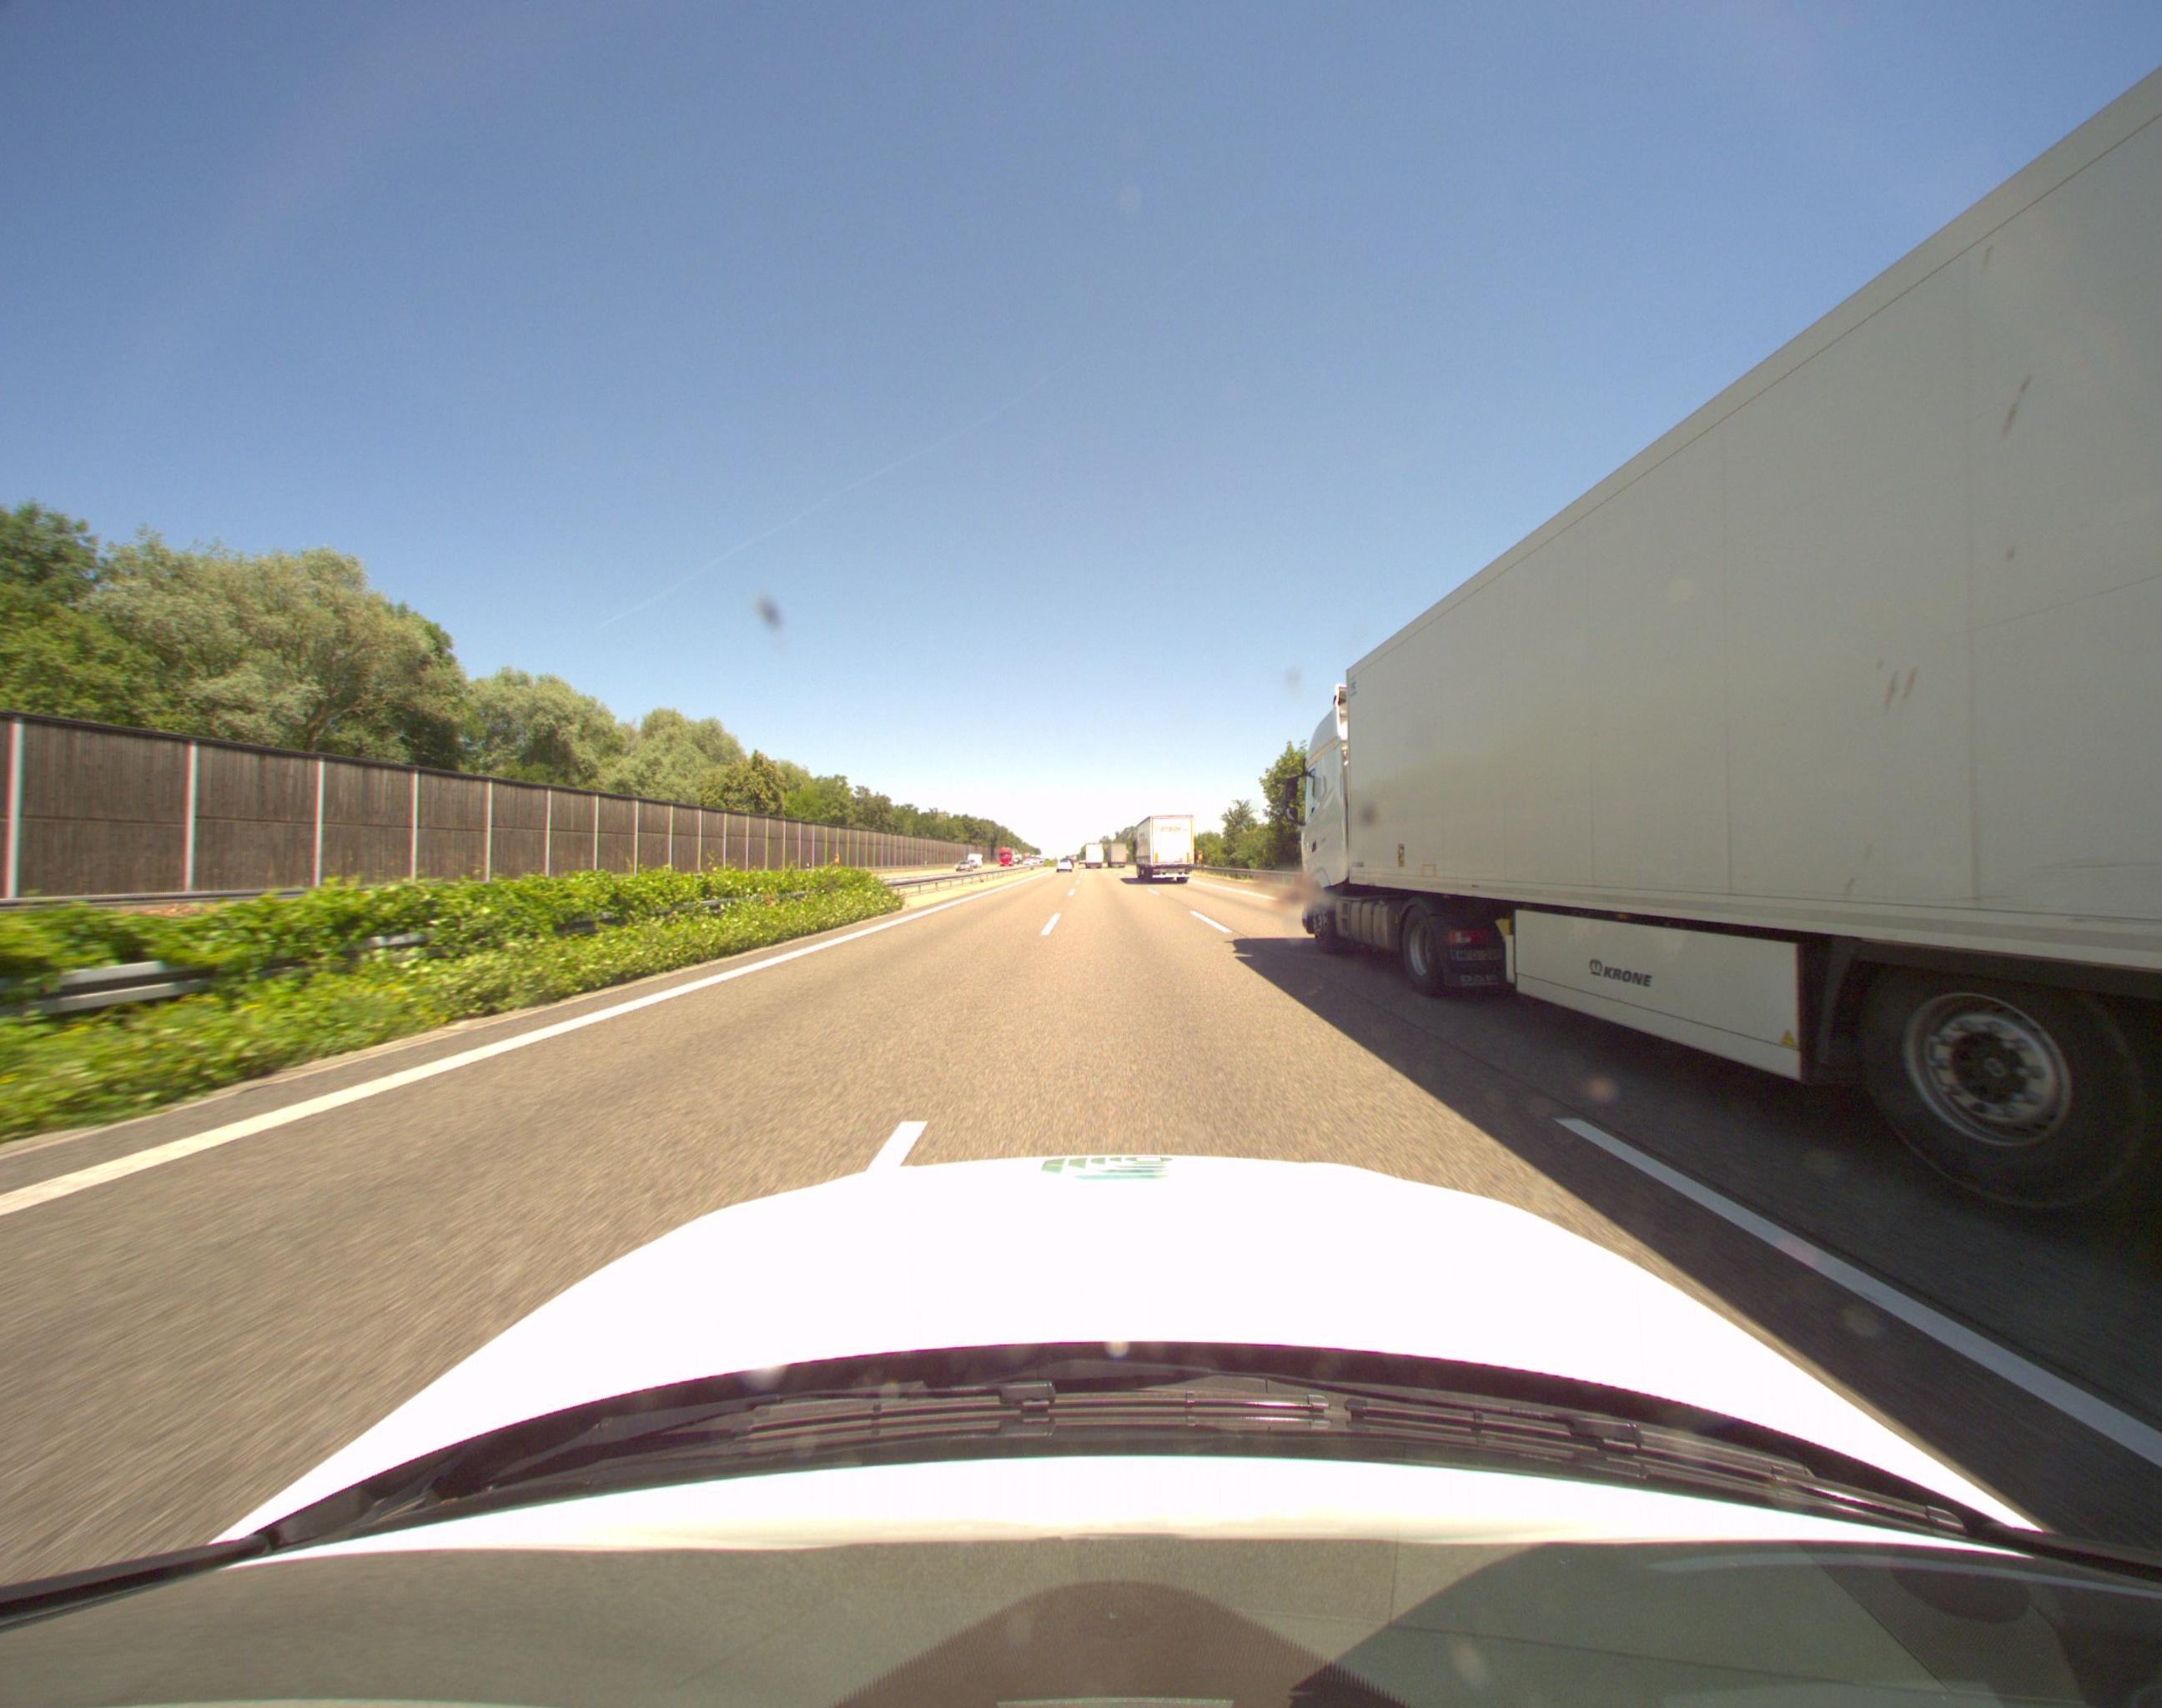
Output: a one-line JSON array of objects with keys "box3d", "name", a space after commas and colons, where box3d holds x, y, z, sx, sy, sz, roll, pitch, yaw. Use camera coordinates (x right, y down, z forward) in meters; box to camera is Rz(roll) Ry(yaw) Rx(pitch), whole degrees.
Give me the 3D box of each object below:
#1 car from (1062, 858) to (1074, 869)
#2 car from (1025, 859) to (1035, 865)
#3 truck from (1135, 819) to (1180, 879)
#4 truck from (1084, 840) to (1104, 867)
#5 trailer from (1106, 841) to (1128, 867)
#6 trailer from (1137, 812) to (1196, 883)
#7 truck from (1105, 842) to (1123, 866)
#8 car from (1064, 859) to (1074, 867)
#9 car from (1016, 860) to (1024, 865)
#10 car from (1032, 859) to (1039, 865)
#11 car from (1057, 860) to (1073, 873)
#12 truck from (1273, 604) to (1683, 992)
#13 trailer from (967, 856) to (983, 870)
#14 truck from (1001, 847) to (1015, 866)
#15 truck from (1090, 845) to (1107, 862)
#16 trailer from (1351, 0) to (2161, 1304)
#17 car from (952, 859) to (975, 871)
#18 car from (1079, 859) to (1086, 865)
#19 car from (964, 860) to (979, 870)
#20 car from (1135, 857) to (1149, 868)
[{"box3d": [-2.004, 1.500, 127.956, 1.849, 1.617, 3.998, 0, -1, -1], "name": "car"}, {"box3d": [-11.721, 1.827, 186.882, 1.893, 1.521, 4.418, -1, 0, 0], "name": "car"}, {"box3d": [5.518, -0.317, 59.727, 2.698, 4.088, 6.965, 0, -1, 1], "name": "truck"}, {"box3d": [2.005, 0.003, 133.571, 2.699, 4.086, 13.465, 1, -1, -1], "name": "truck"}, {"box3d": [6.143, 0.050, 142.034, 2.696, 4.216, 13.199, 1, -1, -2], "name": "trailer"}, {"box3d": [5.444, -0.315, 54.456, 2.698, 4.088, 14.152, 0, -1, 1], "name": "trailer"}, {"box3d": [5.944, 0.110, 147.522, 2.684, 4.216, 7.831, 1, -1, -2], "name": "truck"}, {"box3d": [-2.334, 1.692, 154.293, 1.849, 1.617, 3.999, 0, -1, 0], "name": "car"}, {"box3d": [-17.533, 2.530, 233.640, 1.913, 1.375, 4.580, 0, 0, 0], "name": "car"}, {"box3d": [-13.392, 2.375, 242.190, 1.799, 1.544, 4.246, 0, 0, 1], "name": "car"}, {"box3d": [-1.939, 1.436, 97.172, 1.850, 1.486, 3.997, 0, -1, -2], "name": "car"}, {"box3d": [4.958, -0.587, 11.788, 2.949, 4.106, 6.207, -1, 0, 1], "name": "truck"}, {"box3d": [-19.587, 1.601, 150.773, 2.125, 2.476, 6.266, -1, 0, -1], "name": "trailer"}, {"box3d": [-16.332, 0.576, 182.225, 2.350, 4.076, 7.152, 0, 0, 0], "name": "truck"}, {"box3d": [4.569, -0.117, 220.523, 3.368, 4.304, 11.432, 3, -1, -4], "name": "truck"}, {"box3d": [4.782, -0.684, 3.965, 2.949, 4.106, 12.533, -1, 0, 1], "name": "trailer"}, {"box3d": [-15.616, 1.477, 108.418, 2.117, 1.522, 5.983, -1, 0, 1], "name": "car"}, {"box3d": [0.436, 2.072, 212.653, 1.849, 1.617, 3.999, 0, -1, 0], "name": "car"}, {"box3d": [-19.501, 1.964, 145.186, 1.893, 1.711, 4.904, -1, 0, -1], "name": "car"}, {"box3d": [9.498, 1.278, 126.297, 1.849, 1.617, 3.999, 0, -1, 0], "name": "car"}]
